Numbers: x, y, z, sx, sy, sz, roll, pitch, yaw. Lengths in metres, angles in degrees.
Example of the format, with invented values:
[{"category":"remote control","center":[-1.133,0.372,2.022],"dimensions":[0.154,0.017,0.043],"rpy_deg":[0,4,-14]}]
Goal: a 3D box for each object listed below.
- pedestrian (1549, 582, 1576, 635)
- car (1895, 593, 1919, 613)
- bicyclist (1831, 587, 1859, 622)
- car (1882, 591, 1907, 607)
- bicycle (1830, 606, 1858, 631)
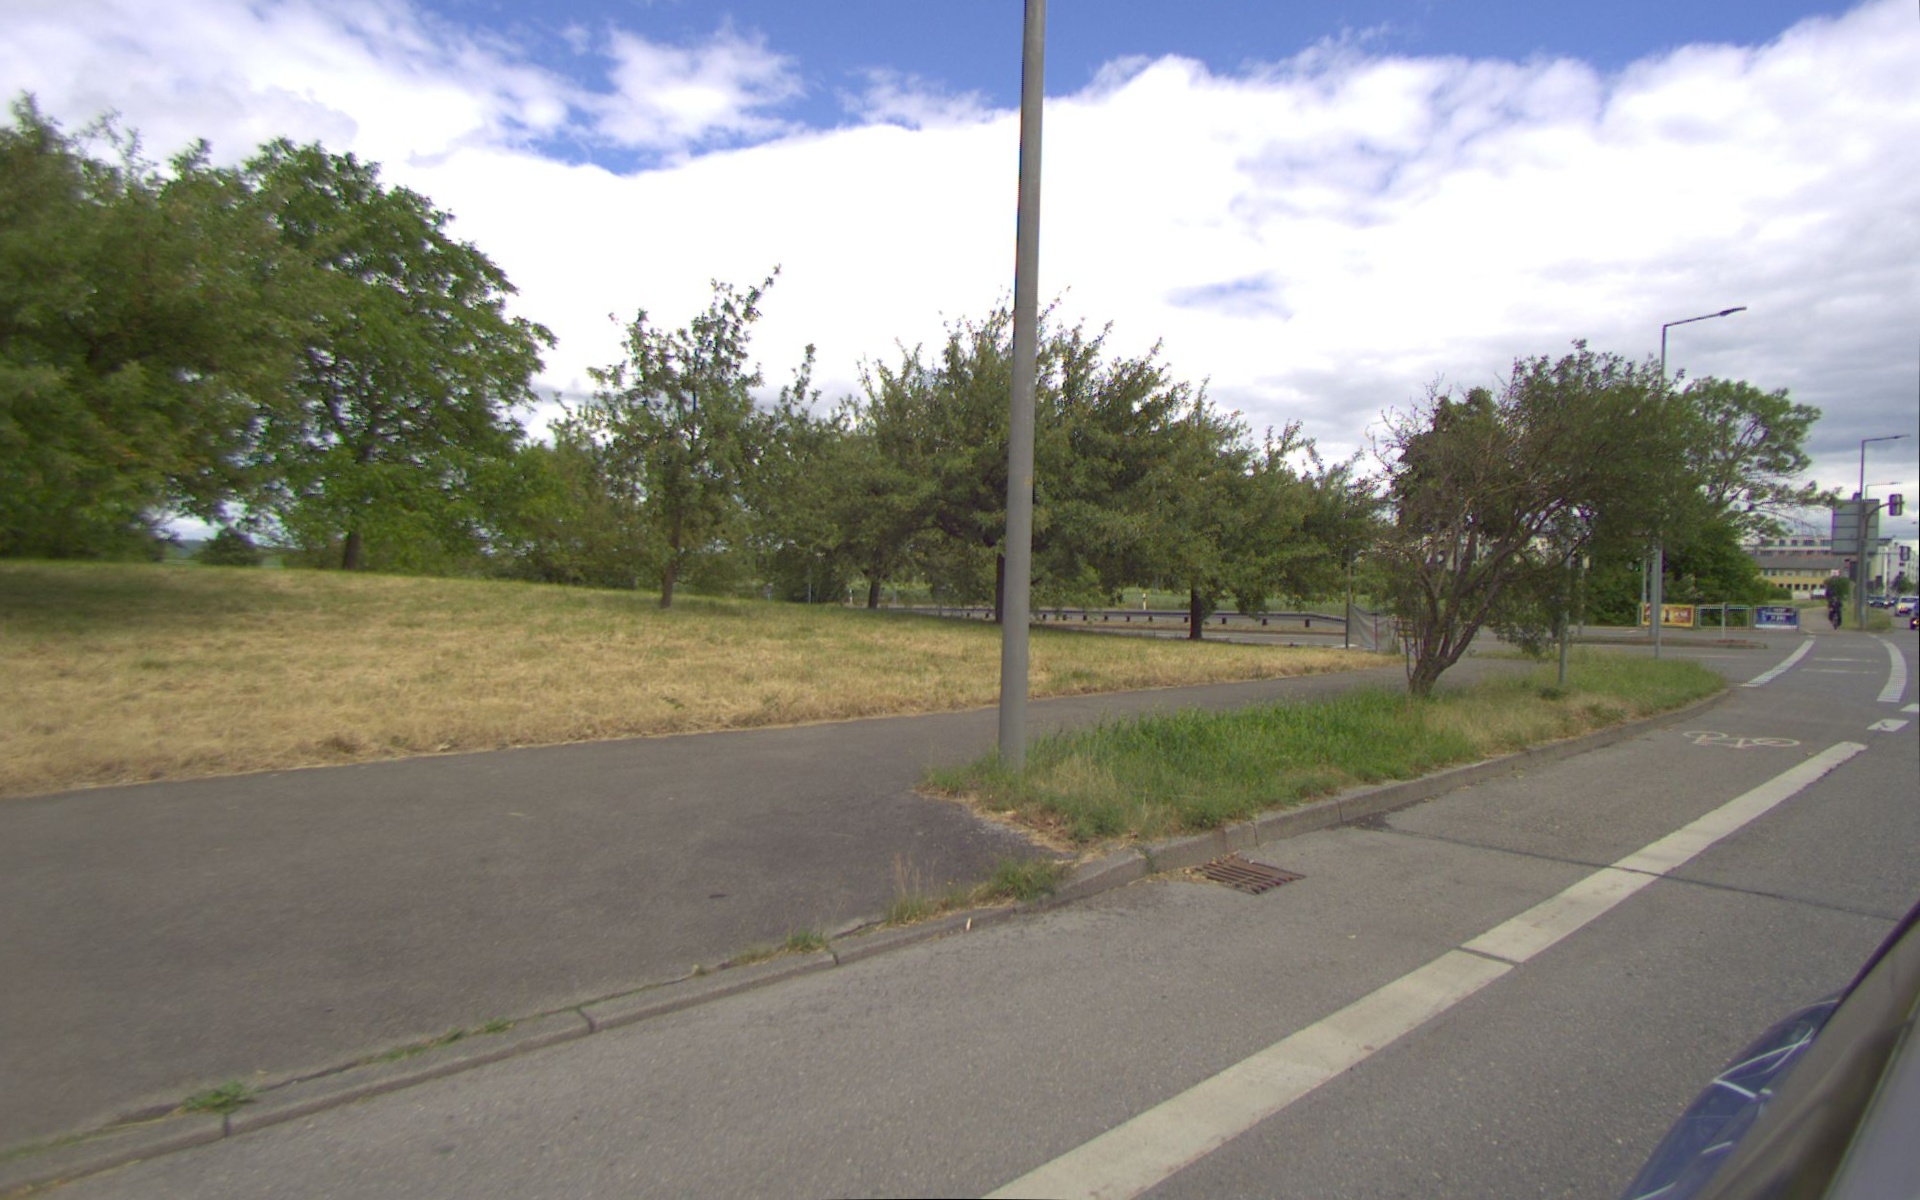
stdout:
[{"category":"pedestrian","center":[21.976,0.314,36.917],"dimensions":[0.795,1.907,0.756],"rpy_deg":[0,0,35]},{"category":"car","center":[72.122,0.195,76.778],"dimensions":[1.731,1.459,4.299],"rpy_deg":[1,0,44]},{"category":"bicyclist","center":[44.819,0.233,51.274],"dimensions":[1.013,1.729,1.183],"rpy_deg":[2,2,41]},{"category":"car","center":[103.075,-0.093,111.672],"dimensions":[1.865,1.716,4.307],"rpy_deg":[0,0,40]},{"category":"bicycle","center":[44.828,0.932,51.335],"dimensions":[1.013,1.148,2.636],"rpy_deg":[2,2,41]}]
